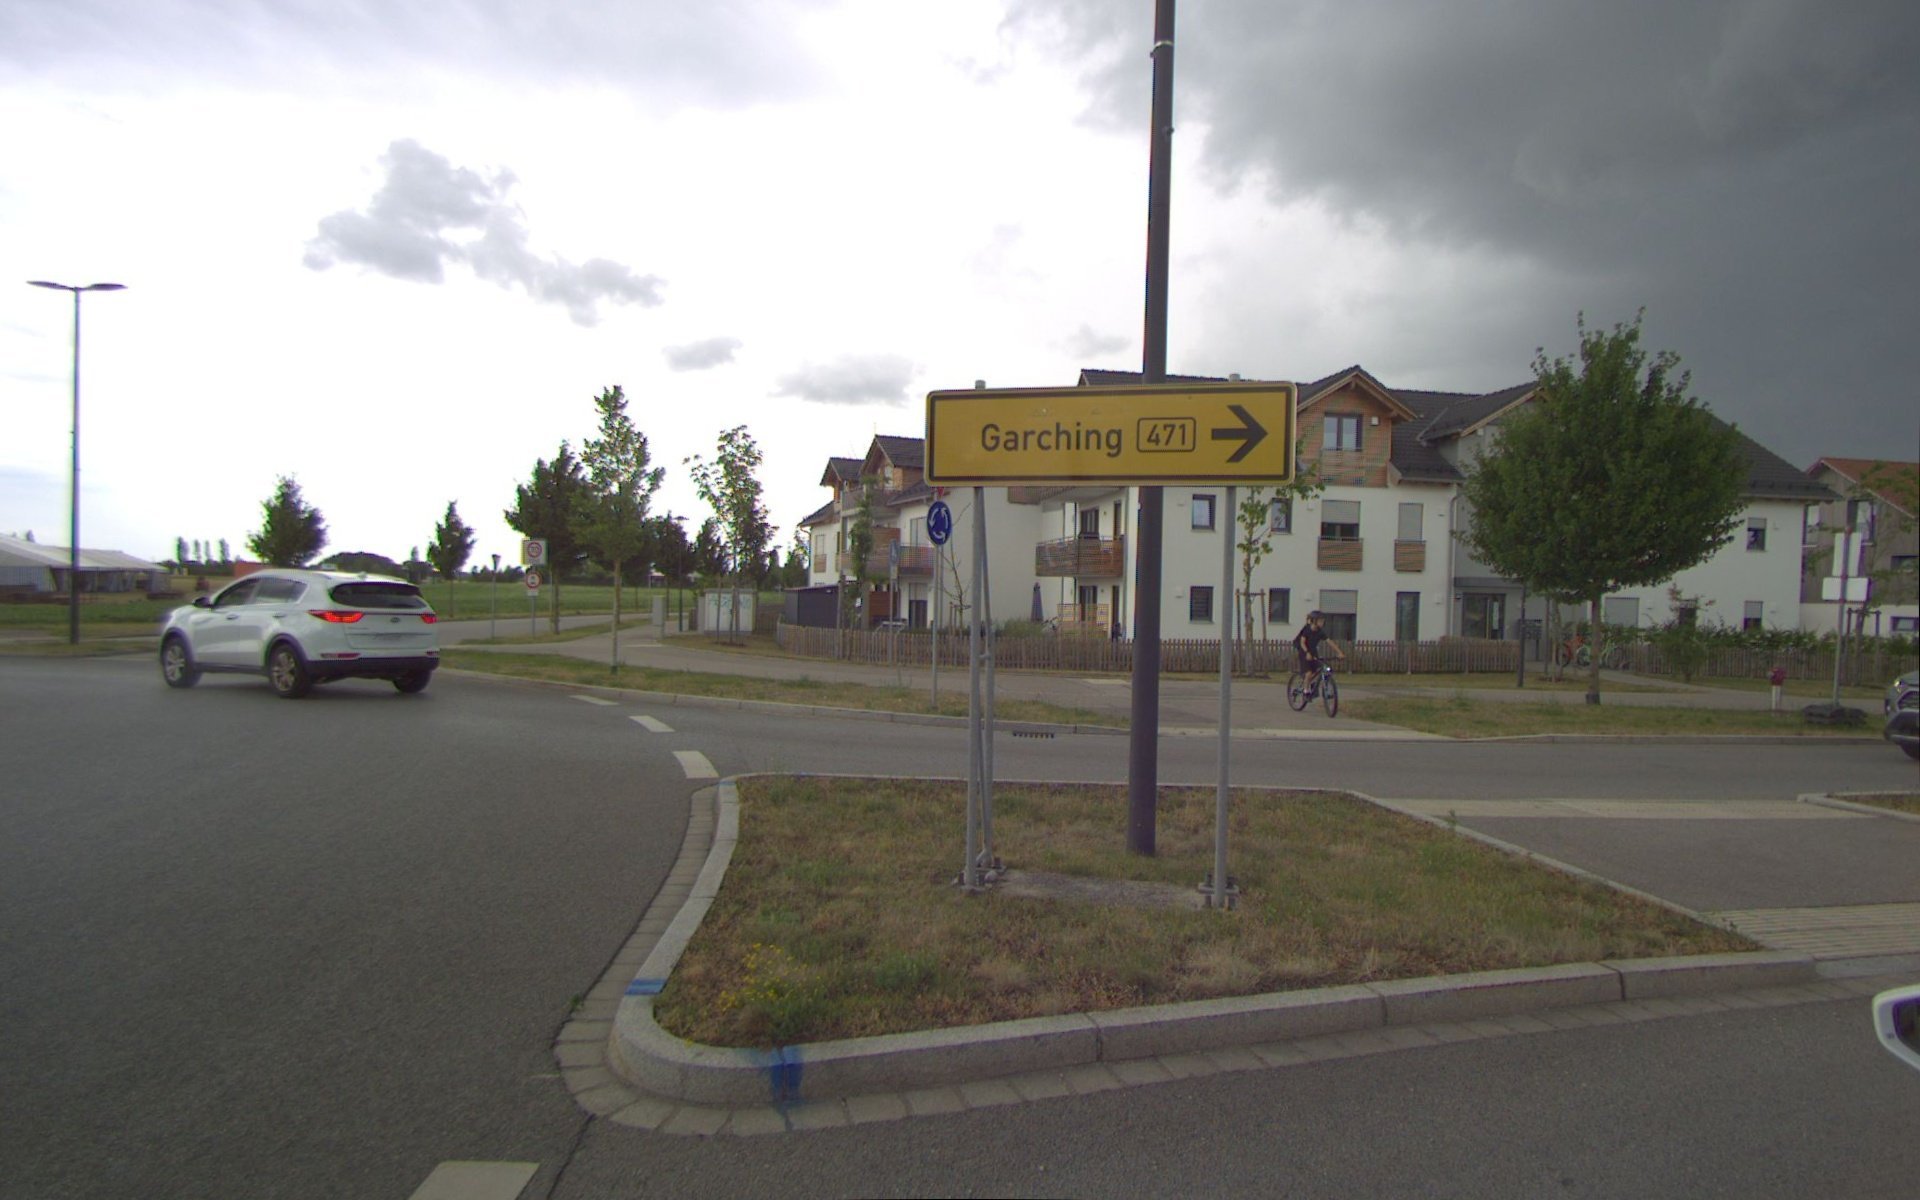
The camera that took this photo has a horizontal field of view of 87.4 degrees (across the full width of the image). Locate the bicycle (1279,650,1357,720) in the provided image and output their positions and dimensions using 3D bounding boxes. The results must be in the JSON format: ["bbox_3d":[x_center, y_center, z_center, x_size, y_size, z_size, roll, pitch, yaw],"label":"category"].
[{"bbox_3d":[5.538,1.292,15.614,0.488,0.959,1.713,1,-1,-4],"label":"bicycle"}]

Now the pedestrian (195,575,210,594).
[{"bbox_3d":[-85.135,-1.756,112.942,1.036,2.041,1.055,1,1,-22],"label":"pedestrian"}]

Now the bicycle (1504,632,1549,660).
[{"bbox_3d":[18.974,1.539,33.645,1.313,0.854,0.368,2,3,-9],"label":"bicycle"}]

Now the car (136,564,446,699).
[{"bbox_3d":[-9.384,0.401,14.031,4.369,1.647,1.712,0,-1,28],"label":"car"}]

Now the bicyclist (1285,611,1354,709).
[{"bbox_3d":[5.578,0.918,15.633,0.711,1.466,0.869,1,-1,-4],"label":"bicyclist"}]

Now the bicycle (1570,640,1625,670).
[{"bbox_3d":[19.622,1.707,30.918,1.519,0.854,0.368,2,3,-9],"label":"bicycle"}]

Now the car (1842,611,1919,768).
[{"bbox_3d":[12.884,1.045,11.338,4.551,1.726,1.997,2,-1,-10],"label":"car"}]

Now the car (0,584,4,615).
[{"bbox_3d":[-48.056,-0.001,48.557,1.711,1.574,3.967,1,1,-30],"label":"car"}]
